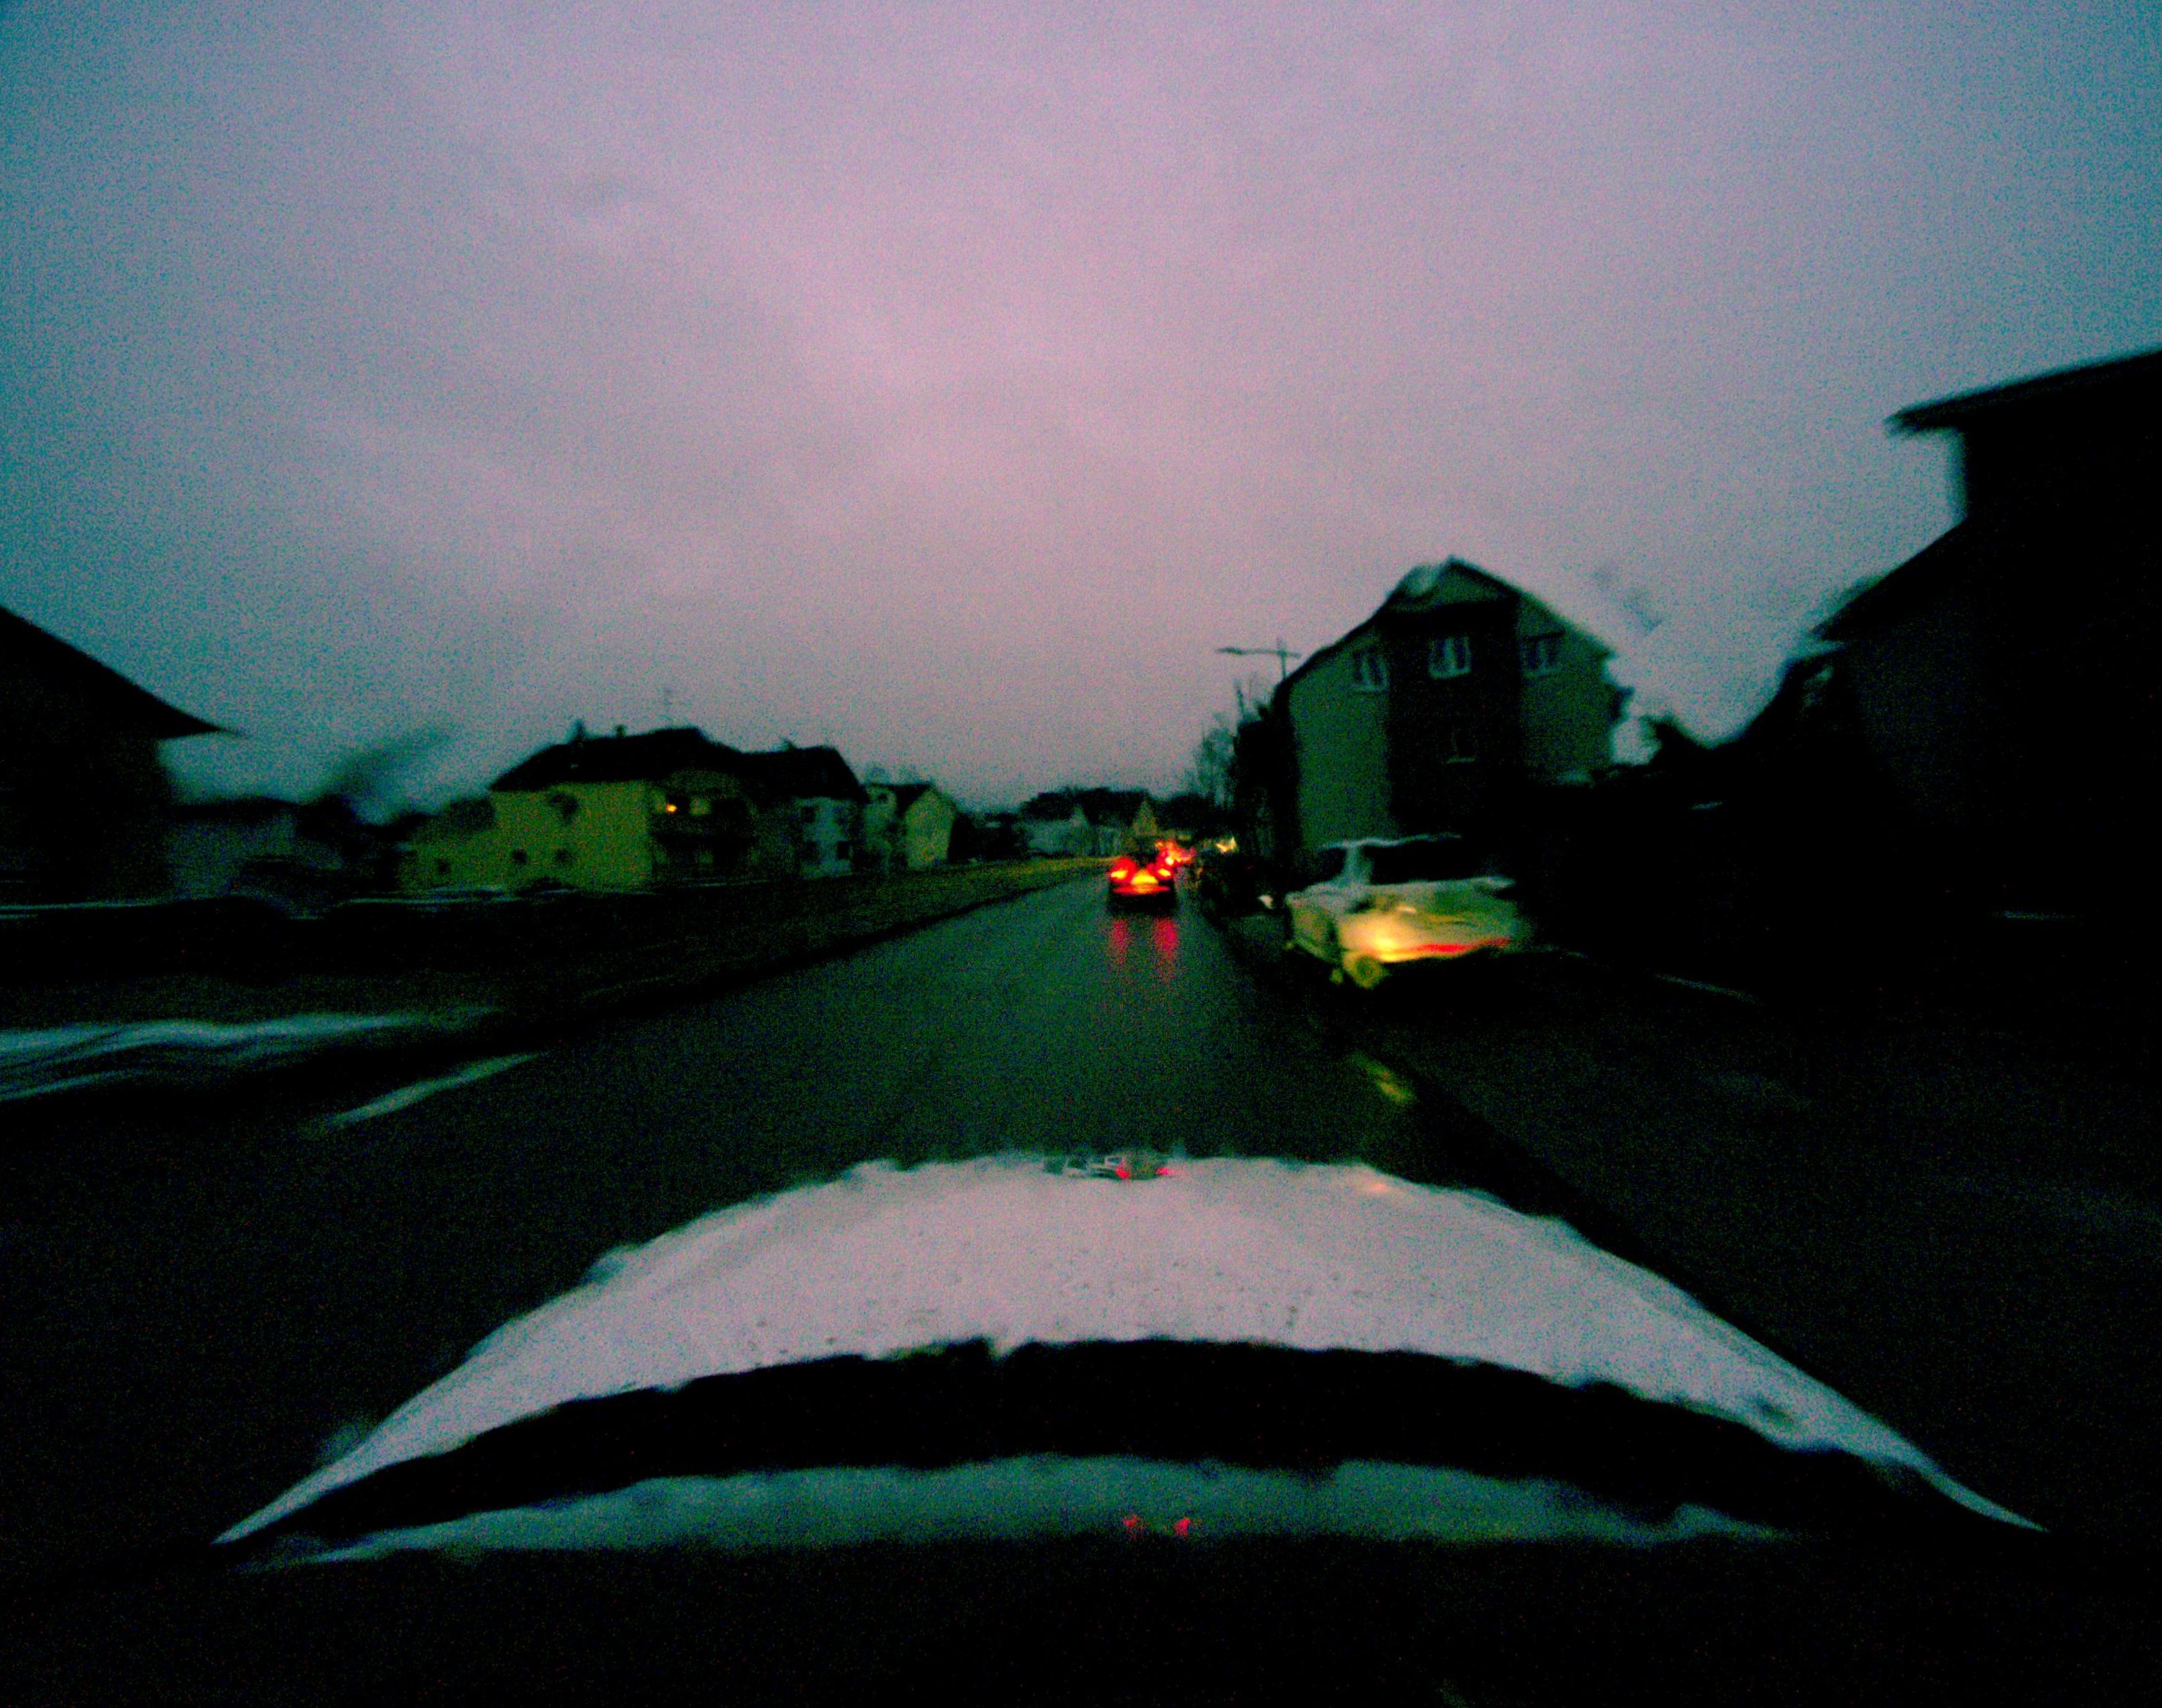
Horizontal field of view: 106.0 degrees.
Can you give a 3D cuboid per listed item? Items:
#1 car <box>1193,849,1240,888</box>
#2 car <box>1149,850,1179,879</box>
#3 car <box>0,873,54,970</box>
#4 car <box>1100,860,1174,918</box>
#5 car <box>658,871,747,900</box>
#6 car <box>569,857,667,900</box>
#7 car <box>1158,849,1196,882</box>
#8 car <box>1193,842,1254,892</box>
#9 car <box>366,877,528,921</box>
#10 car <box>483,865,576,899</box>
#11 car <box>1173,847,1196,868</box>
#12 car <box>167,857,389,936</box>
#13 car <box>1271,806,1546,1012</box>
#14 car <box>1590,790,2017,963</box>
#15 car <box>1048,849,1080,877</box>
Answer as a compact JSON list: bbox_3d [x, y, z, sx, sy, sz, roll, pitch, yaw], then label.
[{"bbox_3d":[6.334,0.645,37.773,1.981,1.670,4.012,-2,0,11],"label":"car"},{"bbox_3d":[6.127,0.781,59.529,1.982,2.014,4.009,-2,-1,8],"label":"car"},{"bbox_3d":[-23.889,1.463,15.935,1.982,2.013,4.234,-1,0,9],"label":"car"},{"bbox_3d":[1.719,0.984,24.386,1.984,1.525,4.005,-2,-1,5],"label":"car"},{"bbox_3d":[-19.171,1.590,41.430,1.980,1.307,4.126,0,0,12],"label":"car"},{"bbox_3d":[-23.070,1.209,40.625,3.956,2.013,2.009,-1,0,16],"label":"car"},{"bbox_3d":[5.235,0.605,44.486,1.983,1.679,4.007,0,0,6],"label":"car"},{"bbox_3d":[5.302,0.426,29.920,1.980,1.670,4.014,-1,0,12],"label":"car"},{"bbox_3d":[-21.902,1.504,28.380,1.980,1.307,4.126,0,0,12],"label":"car"},{"bbox_3d":[-28.601,1.440,42.274,3.995,1.662,1.855,-1,0,16],"label":"car"},{"bbox_3d":[10.538,0.349,82.798,1.981,2.014,4.011,-2,-1,10],"label":"car"},{"bbox_3d":[-22.467,1.103,23.026,1.980,2.013,4.013,-1,0,12],"label":"car"},{"bbox_3d":[3.534,0.496,9.722,1.737,1.785,4.342,-4,0,5],"label":"car"},{"bbox_3d":[8.230,0.209,9.958,1.956,1.583,4.350,-3,0,12],"label":"car"},{"bbox_3d":[-1.261,0.696,61.301,1.985,2.014,4.004,-2,-1,4],"label":"car"}]
